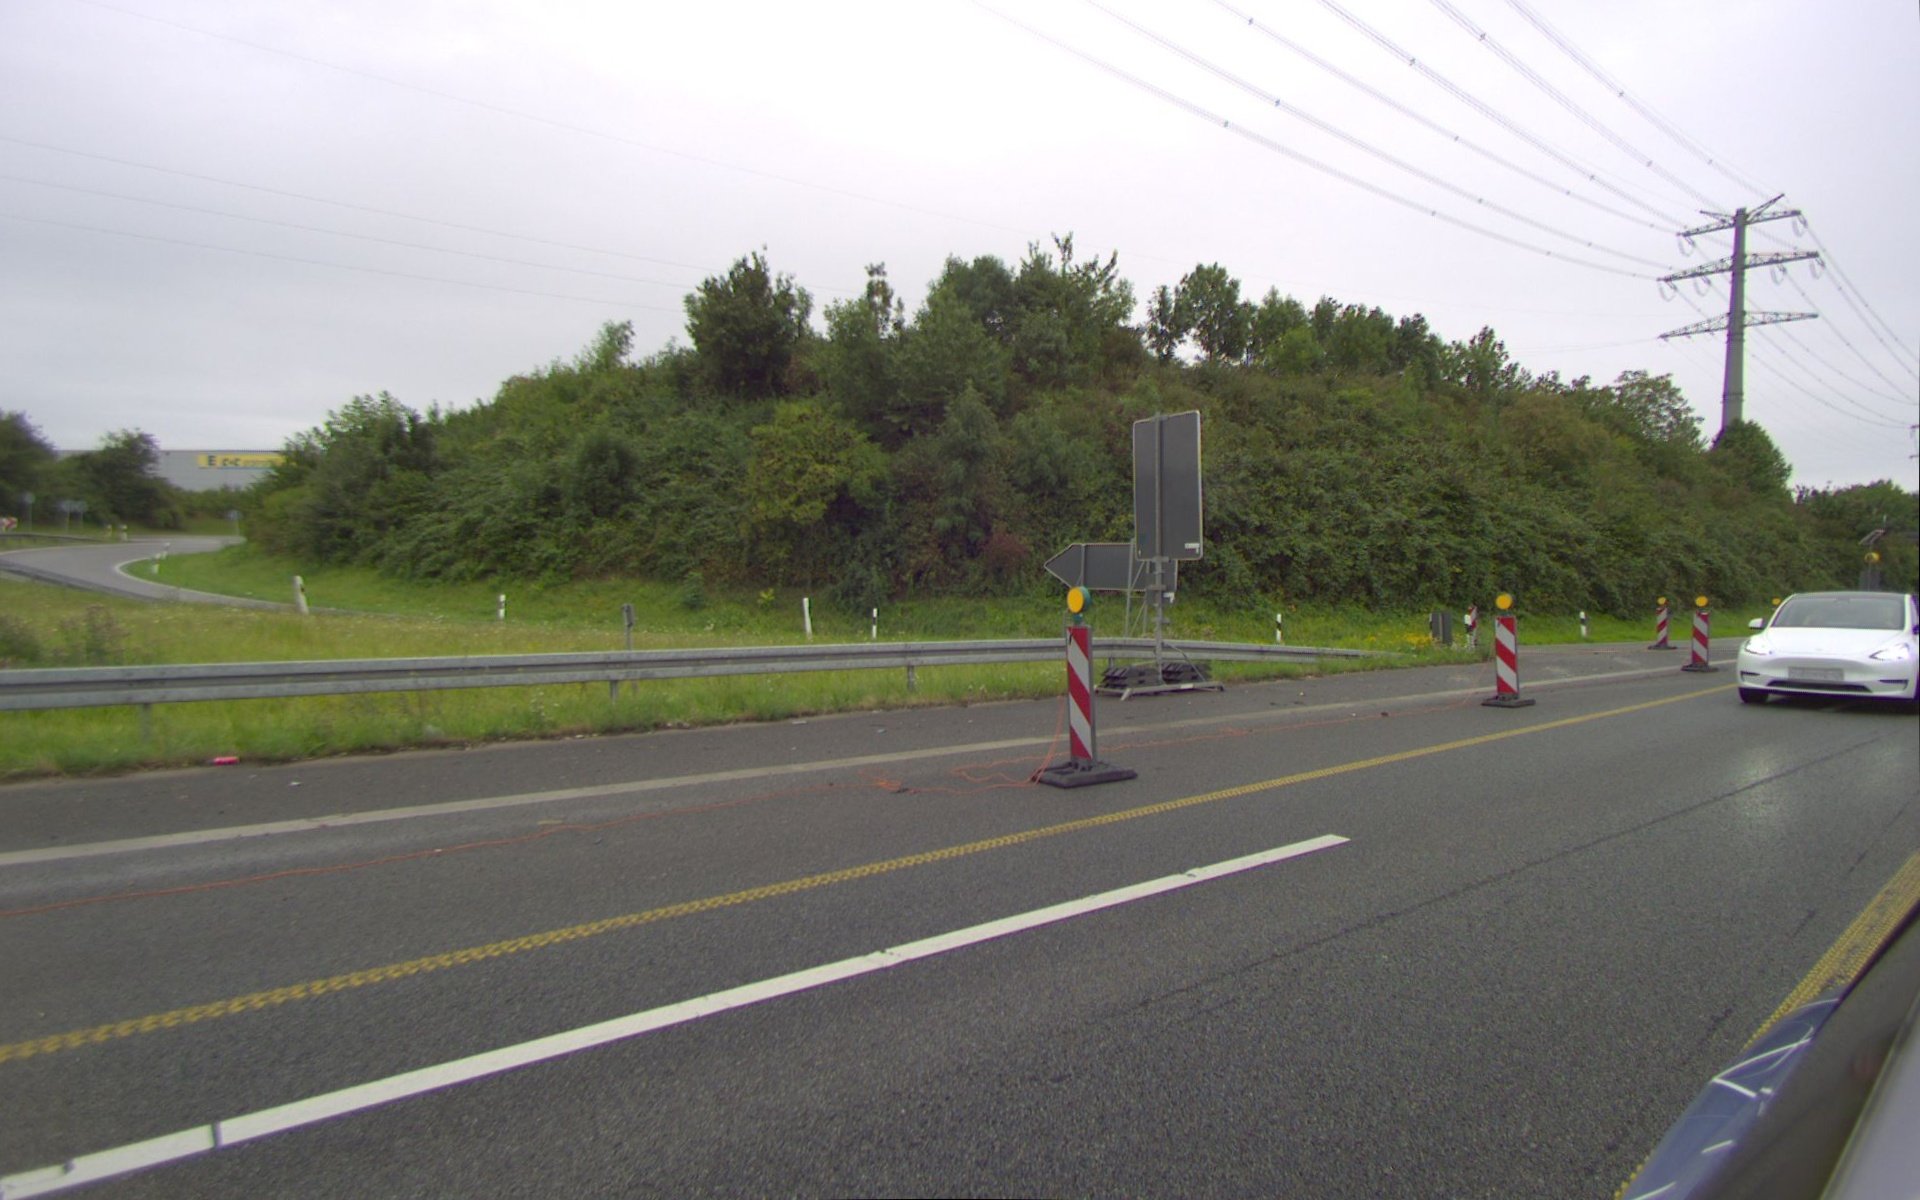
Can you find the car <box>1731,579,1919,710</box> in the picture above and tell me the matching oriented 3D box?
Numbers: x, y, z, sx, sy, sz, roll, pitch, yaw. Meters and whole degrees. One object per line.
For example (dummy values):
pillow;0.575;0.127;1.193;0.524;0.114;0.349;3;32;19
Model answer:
car;13.461;0.527;15.062;5.700;1.616;2.049;0;0;-41
